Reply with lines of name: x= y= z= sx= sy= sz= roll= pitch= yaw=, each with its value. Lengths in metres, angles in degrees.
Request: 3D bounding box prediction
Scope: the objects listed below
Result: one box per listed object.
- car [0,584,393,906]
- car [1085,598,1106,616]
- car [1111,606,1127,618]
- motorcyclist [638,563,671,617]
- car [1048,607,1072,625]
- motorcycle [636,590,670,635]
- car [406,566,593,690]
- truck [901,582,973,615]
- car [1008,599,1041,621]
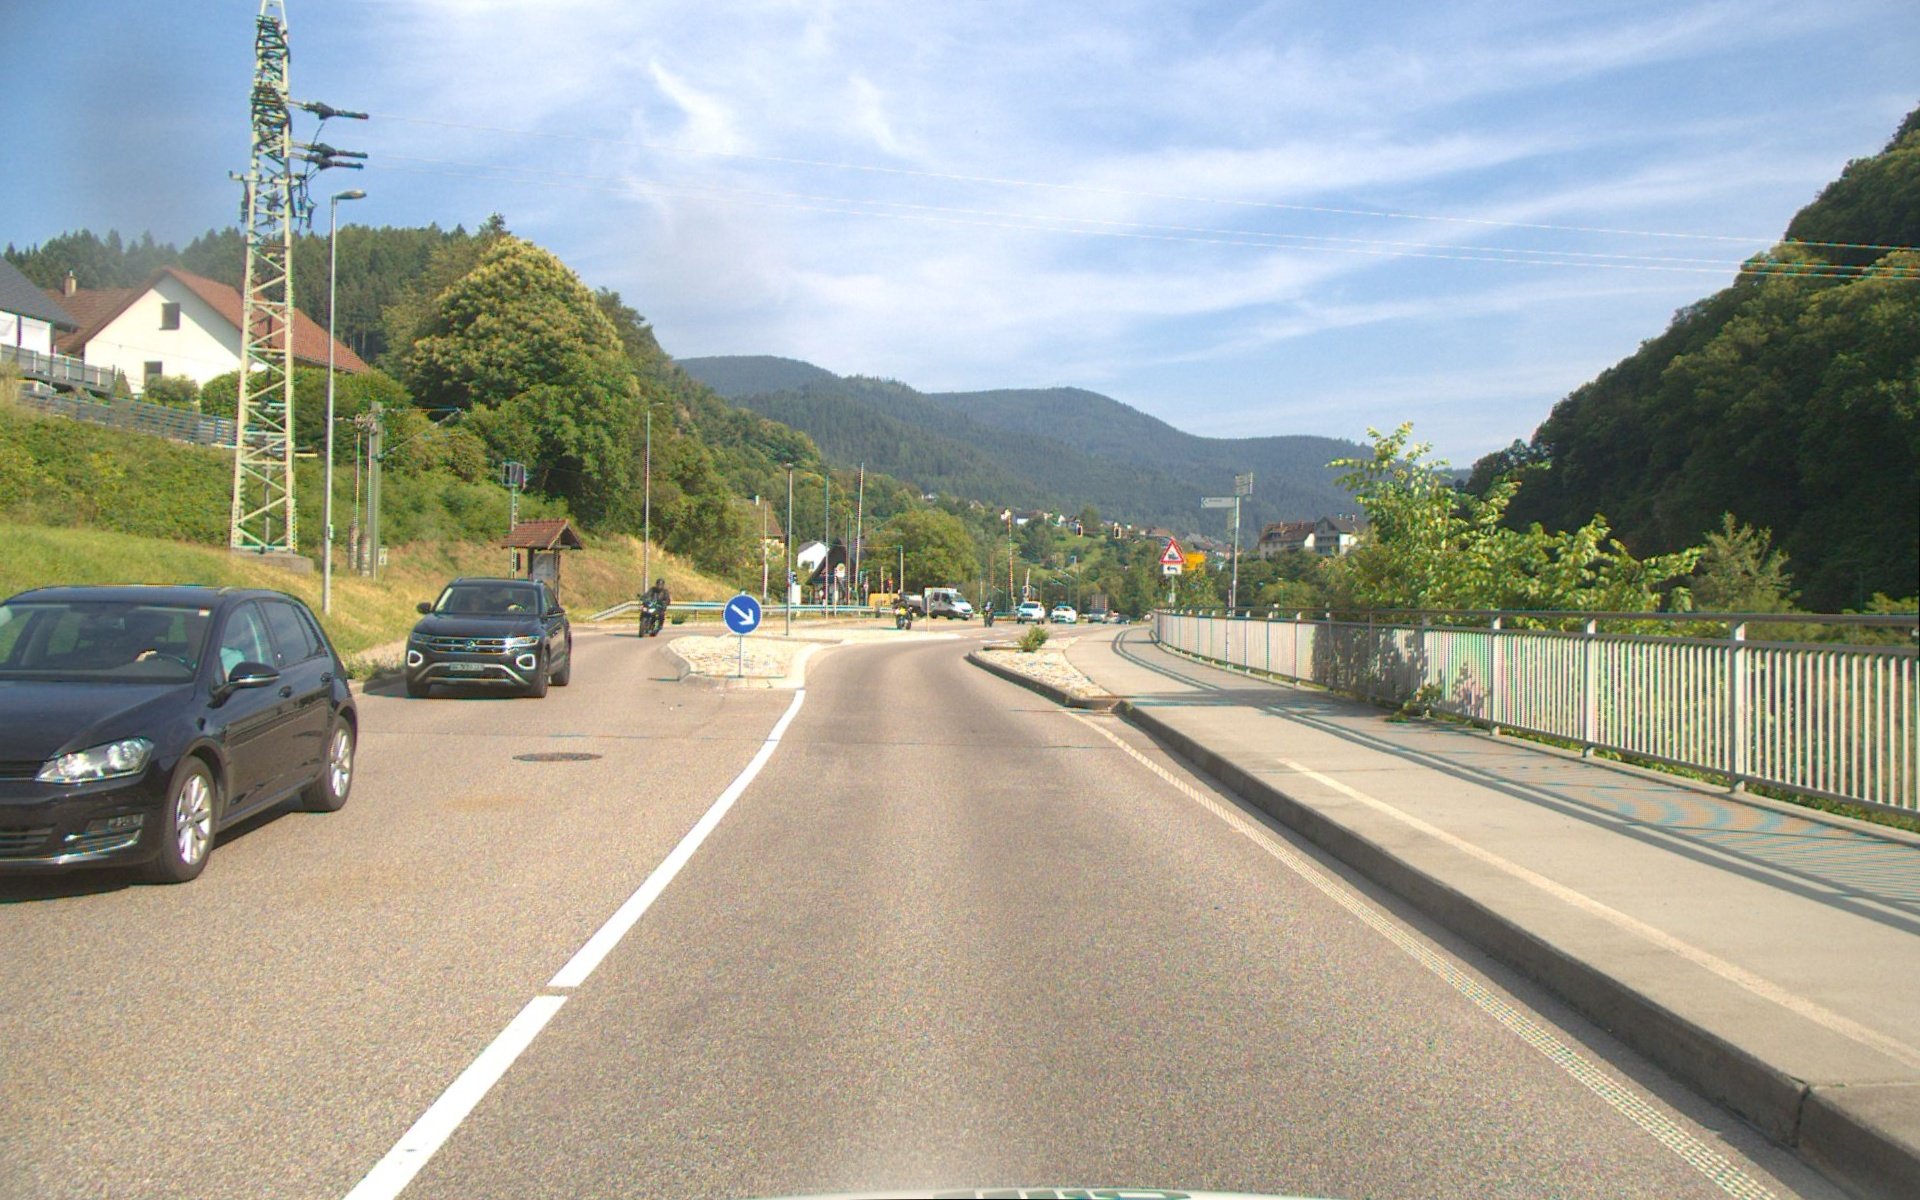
car: x=-4.681 y=0.632 z=9.459 sx=1.740 sy=1.432 sz=4.267 roll=1 pitch=0 yaw=-5
car: x=14.189 y=0.749 z=172.812 sx=1.721 sy=1.548 sz=4.207 roll=1 pitch=-5 yaw=10
car: x=19.869 y=1.502 z=206.424 sx=1.735 sy=1.441 sz=3.788 roll=-1 pitch=0 yaw=9
motorcyclist: x=-8.850 y=-0.293 z=47.861 sx=0.889 sy=1.545 sz=0.845 roll=1 pitch=1 yaw=-13
car: x=8.515 y=1.351 z=140.098 sx=1.744 sy=1.424 sz=4.830 roll=2 pitch=0 yaw=6
motorcycle: x=-8.874 y=0.358 z=47.807 sx=0.879 sy=1.204 sz=2.299 roll=1 pitch=1 yaw=-12
car: x=-6.257 y=0.325 z=22.918 sx=1.740 sy=1.543 sz=4.267 roll=1 pitch=1 yaw=-5
truck: x=-1.829 y=-0.103 z=130.864 sx=5.900 sy=2.305 sz=1.987 roll=4 pitch=1 yaw=43
car: x=4.820 y=0.769 z=123.391 sx=1.726 sy=1.587 sz=4.003 roll=1 pitch=0 yaw=13
